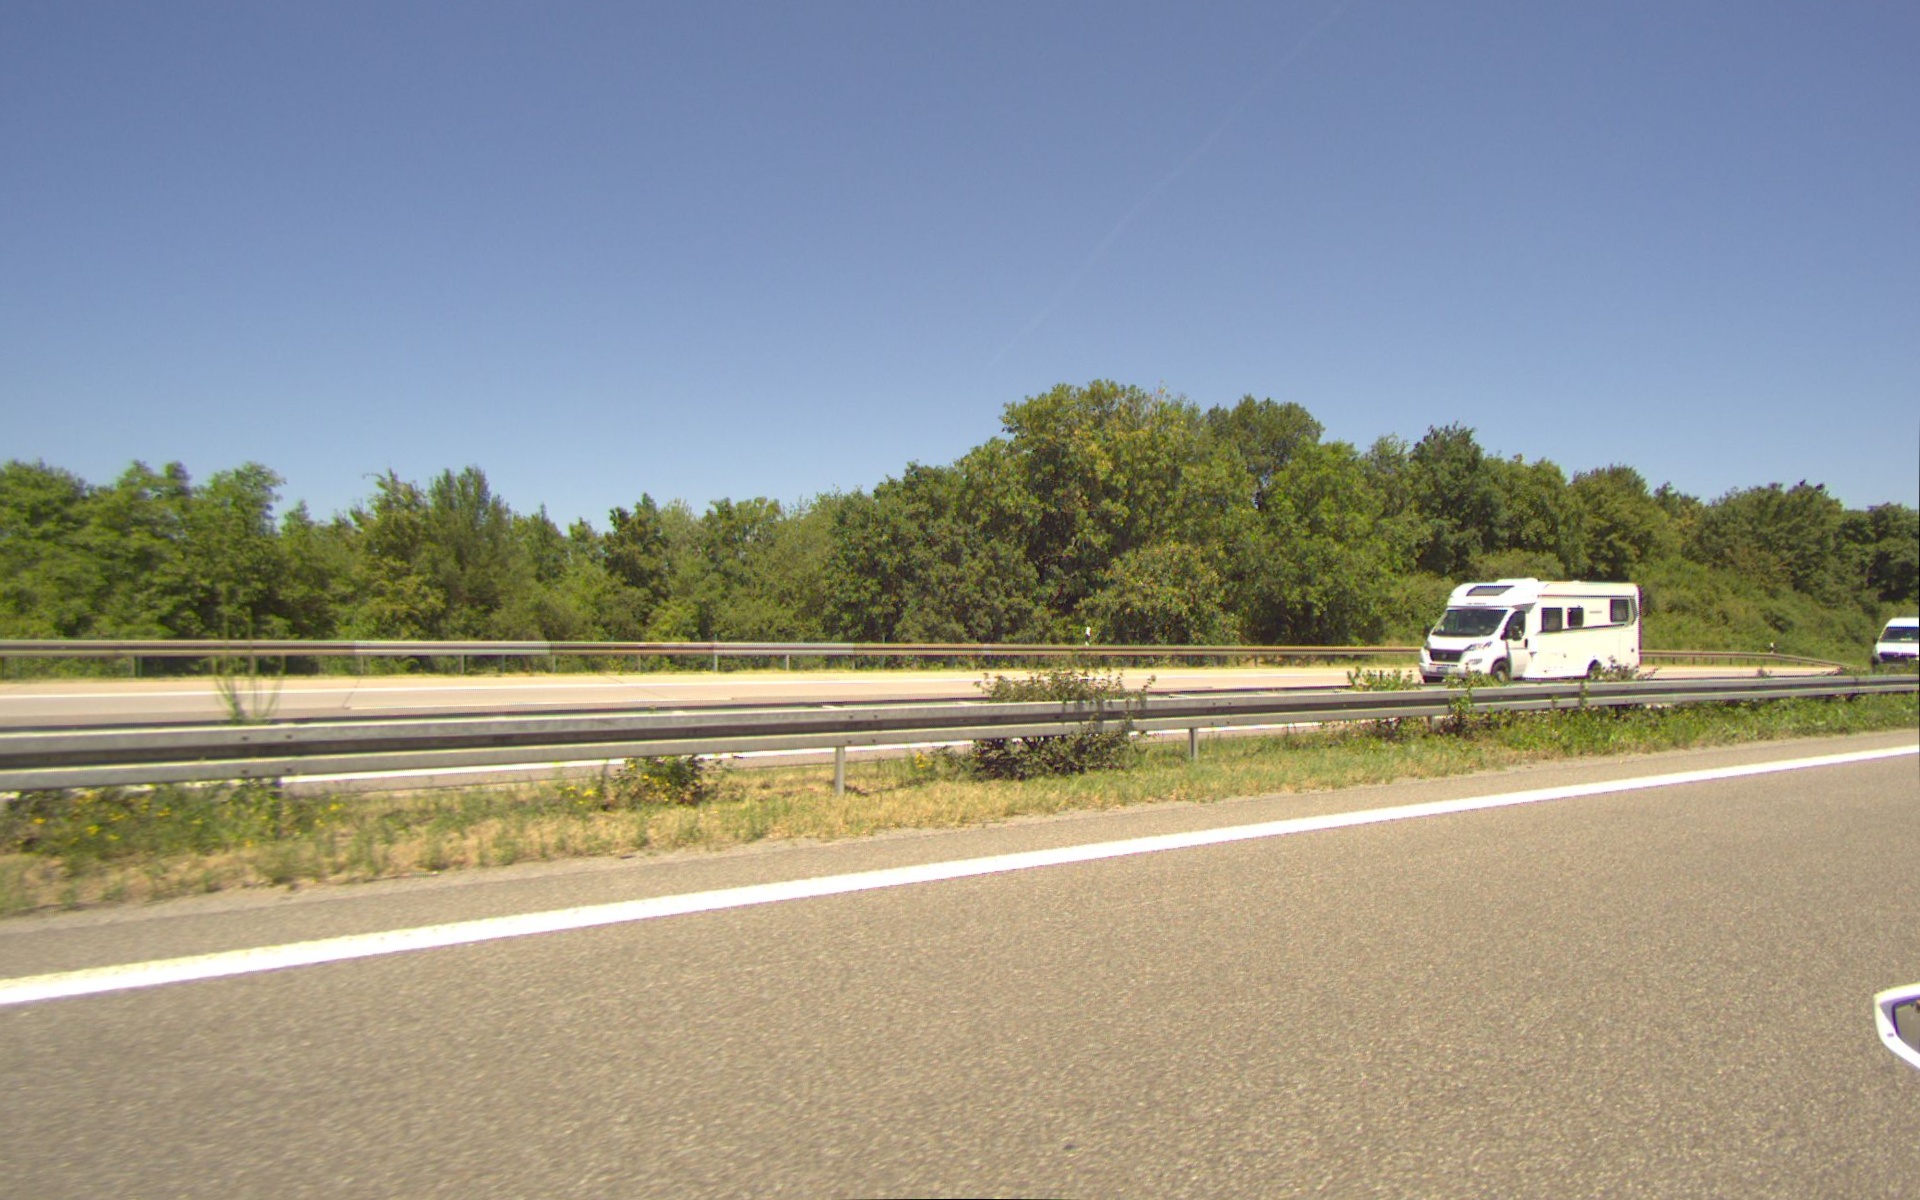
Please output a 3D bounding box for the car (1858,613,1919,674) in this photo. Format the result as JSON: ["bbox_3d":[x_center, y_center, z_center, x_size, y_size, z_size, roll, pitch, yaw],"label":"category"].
[{"bbox_3d":[41.264,1.870,43.080,6.342,2.473,2.205,2,-2,-29],"label":"car"}]

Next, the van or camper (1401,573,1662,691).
[{"bbox_3d":[15.825,0.894,27.615,7.929,2.887,2.502,1,-1,-29],"label":"van or camper"}]
